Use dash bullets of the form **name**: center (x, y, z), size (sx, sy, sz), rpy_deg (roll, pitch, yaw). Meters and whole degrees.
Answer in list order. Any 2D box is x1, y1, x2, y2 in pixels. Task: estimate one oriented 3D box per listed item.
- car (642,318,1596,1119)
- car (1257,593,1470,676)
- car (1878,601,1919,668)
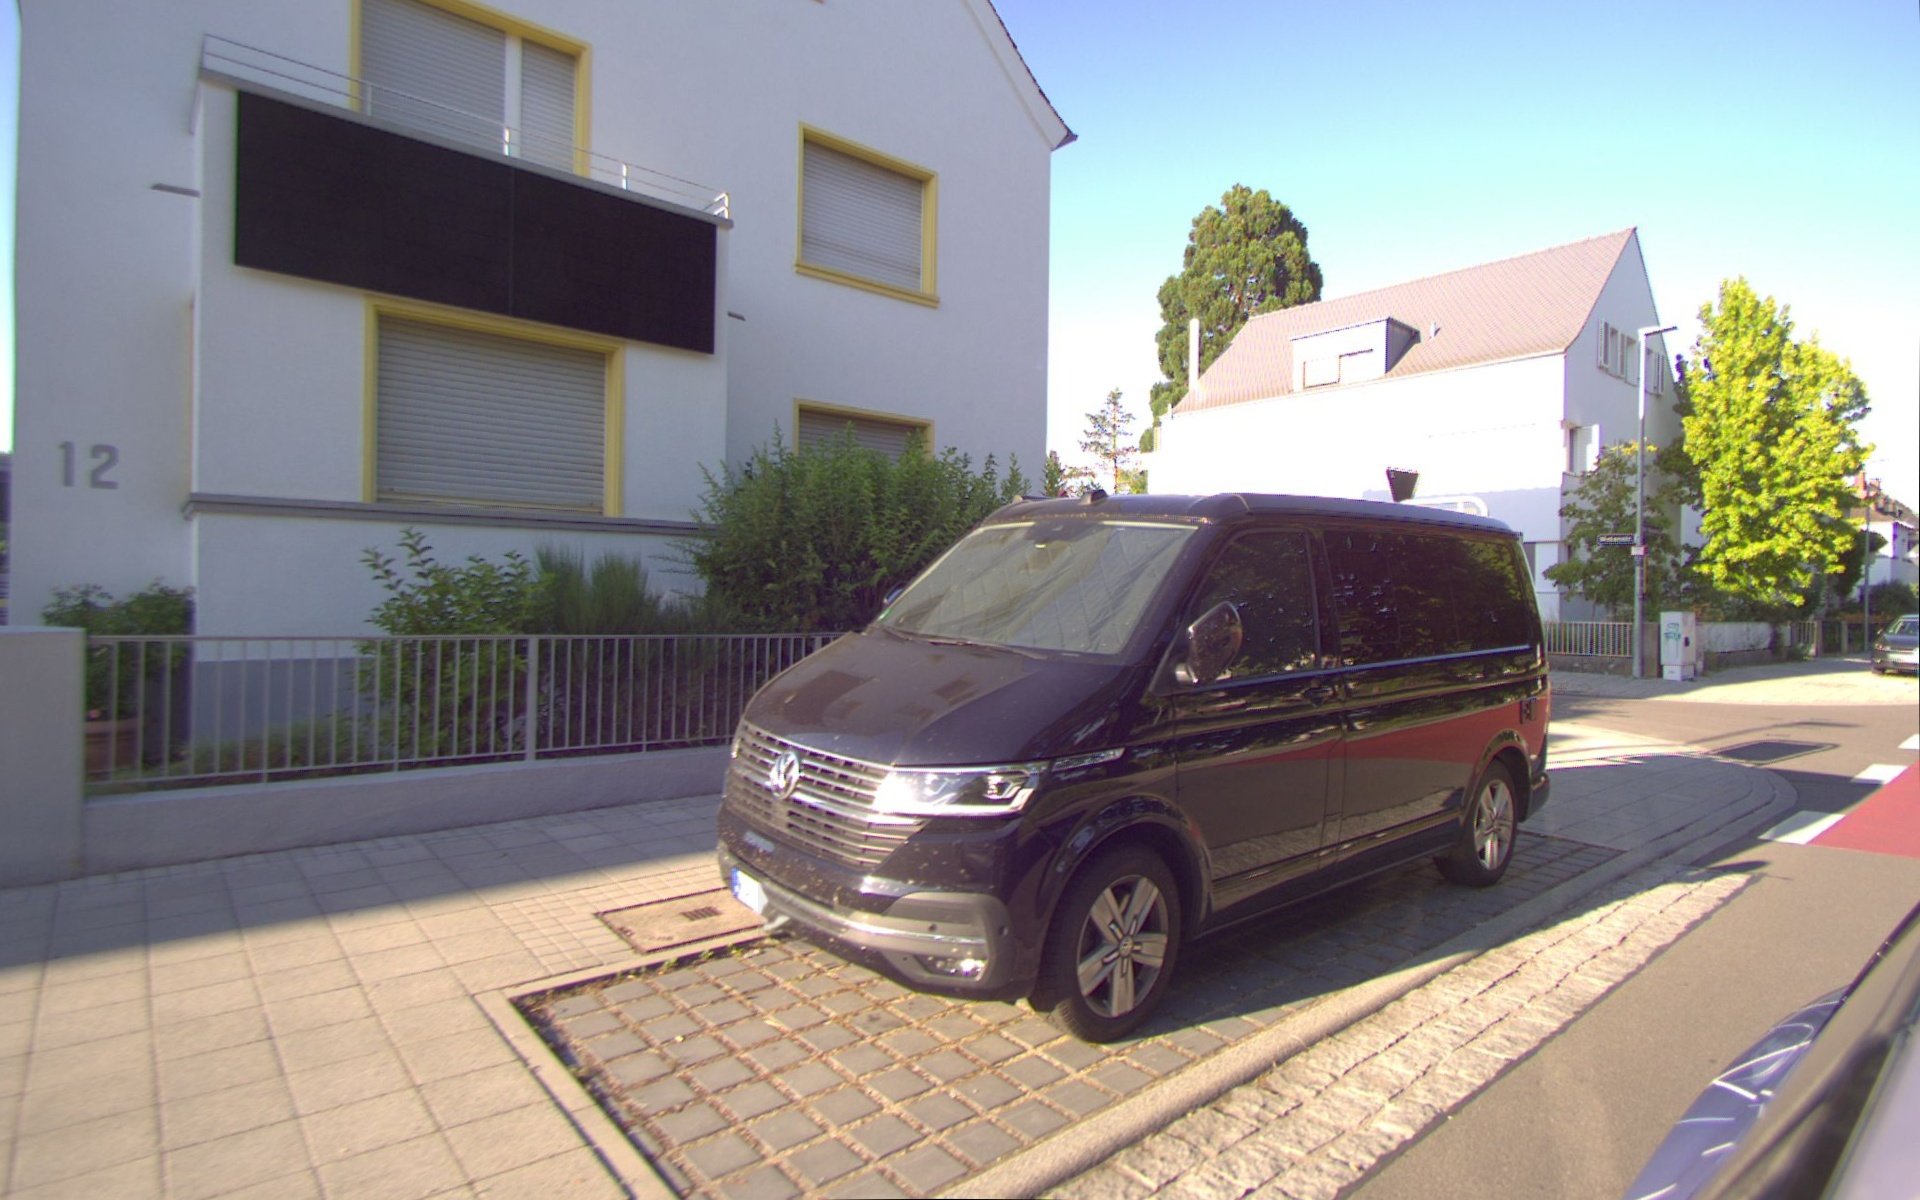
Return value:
- **car**: center (1.131, 0.313, 4.970), size (4.727, 2.158, 1.911), rpy_deg (1, 2, -40)
- **car**: center (9.066, 0.730, 22.972), size (1.862, 1.710, 4.095), rpy_deg (0, -1, -42)
- **car**: center (23.688, 0.879, 24.310), size (4.049, 1.501, 1.798), rpy_deg (2, 1, -40)
